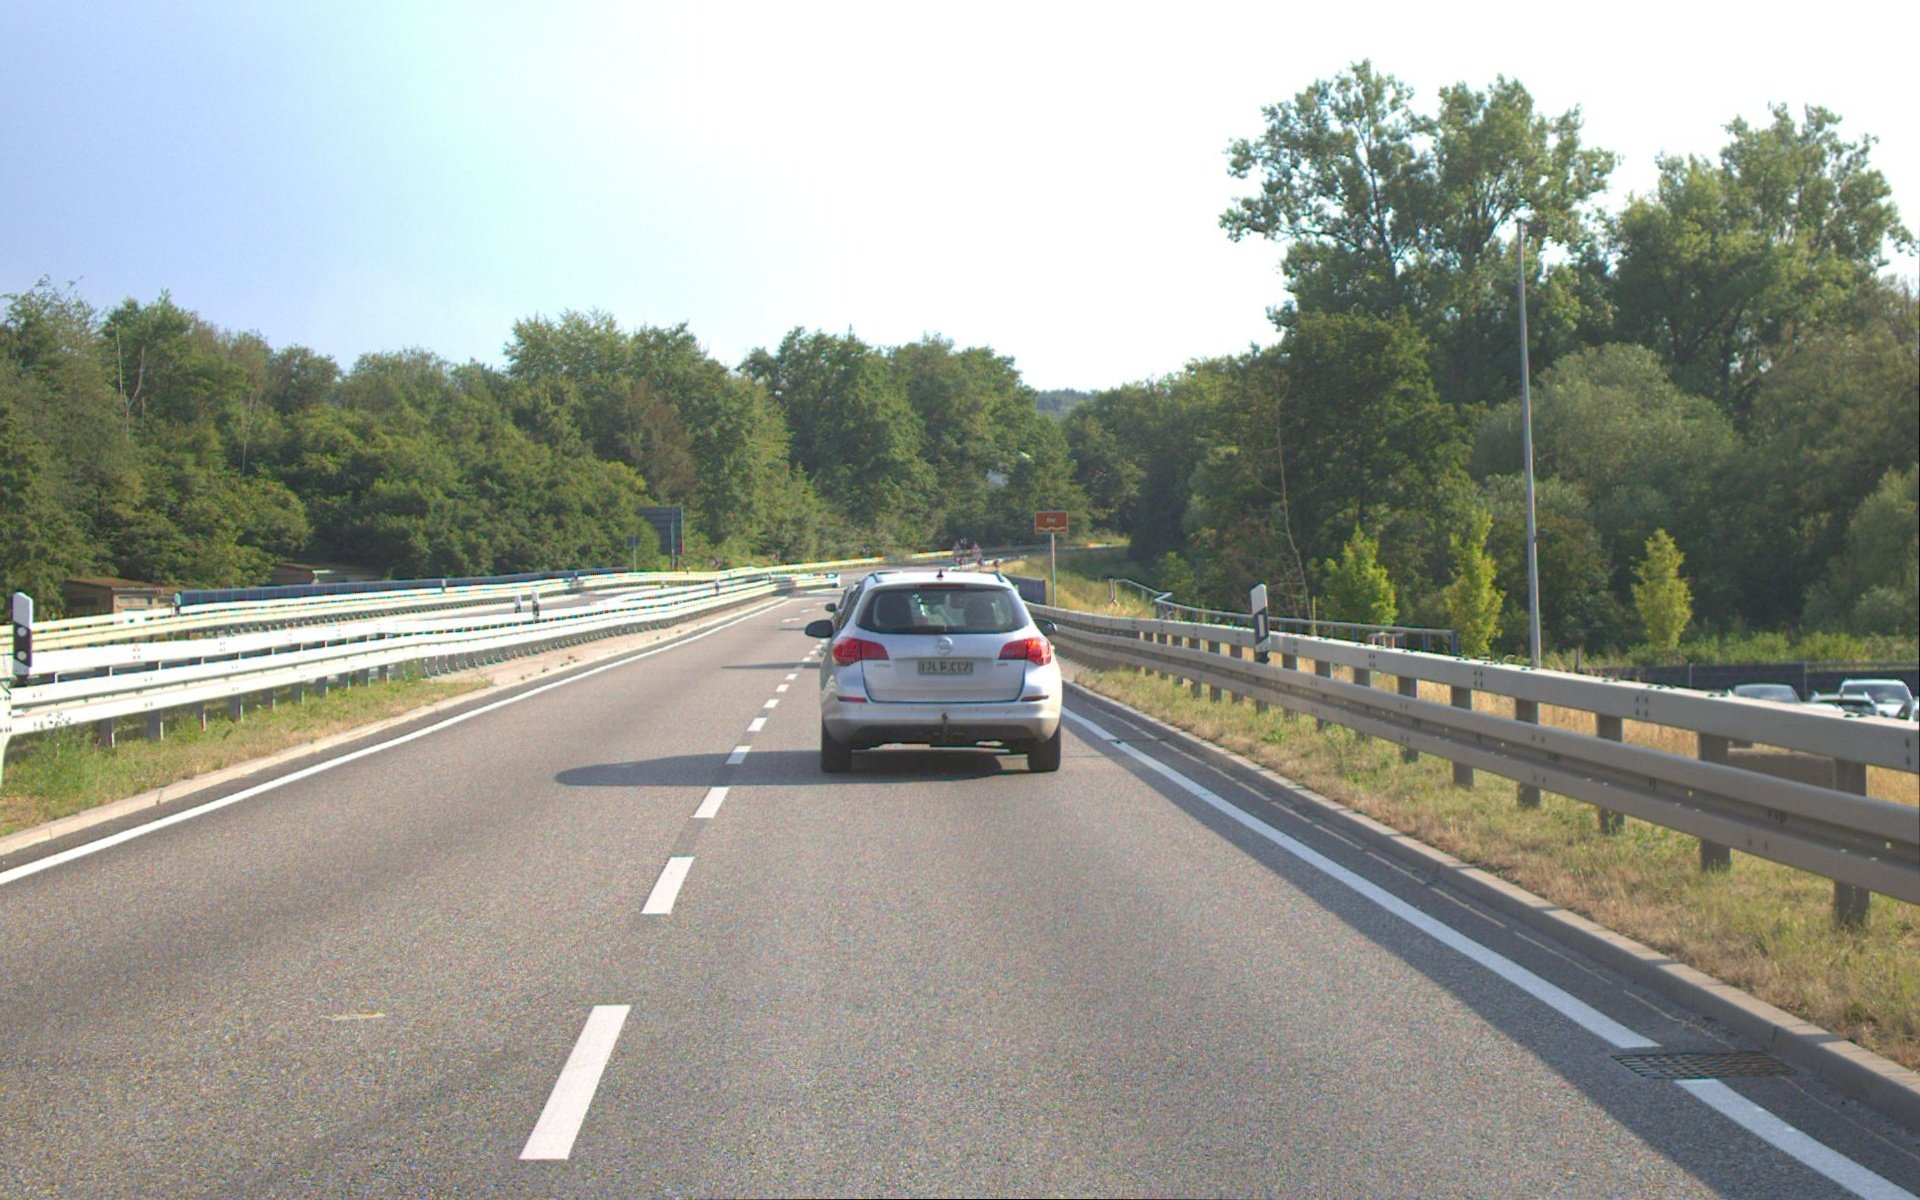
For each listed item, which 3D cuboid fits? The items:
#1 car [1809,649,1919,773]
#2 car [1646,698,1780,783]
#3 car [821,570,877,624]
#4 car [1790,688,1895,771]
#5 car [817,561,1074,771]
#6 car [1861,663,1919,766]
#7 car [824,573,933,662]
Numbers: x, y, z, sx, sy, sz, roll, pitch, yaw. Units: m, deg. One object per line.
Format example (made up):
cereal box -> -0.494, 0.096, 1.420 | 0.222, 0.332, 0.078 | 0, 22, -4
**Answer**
car -> 13.662, 1.573, 49.564 | 1.775, 1.678, 4.000 | 0, 0, -1
car -> 14.256, 2.644, 65.281 | 1.706, 1.459, 4.000 | 0, 0, 1
car -> -3.096, -0.067, 96.568 | 1.492, 1.471, 3.359 | 0, 0, -1
car -> 18.944, 2.757, 73.941 | 1.954, 1.636, 4.241 | 0, 0, 11
car -> -0.154, 0.483, 26.412 | 1.809, 1.481, 4.000 | 0, 0, -1
car -> 16.829, 1.947, 59.077 | 1.775, 1.678, 4.000 | 0, 0, 2
car -> -1.418, 0.309, 59.440 | 1.809, 1.481, 4.000 | 0, 0, -1
